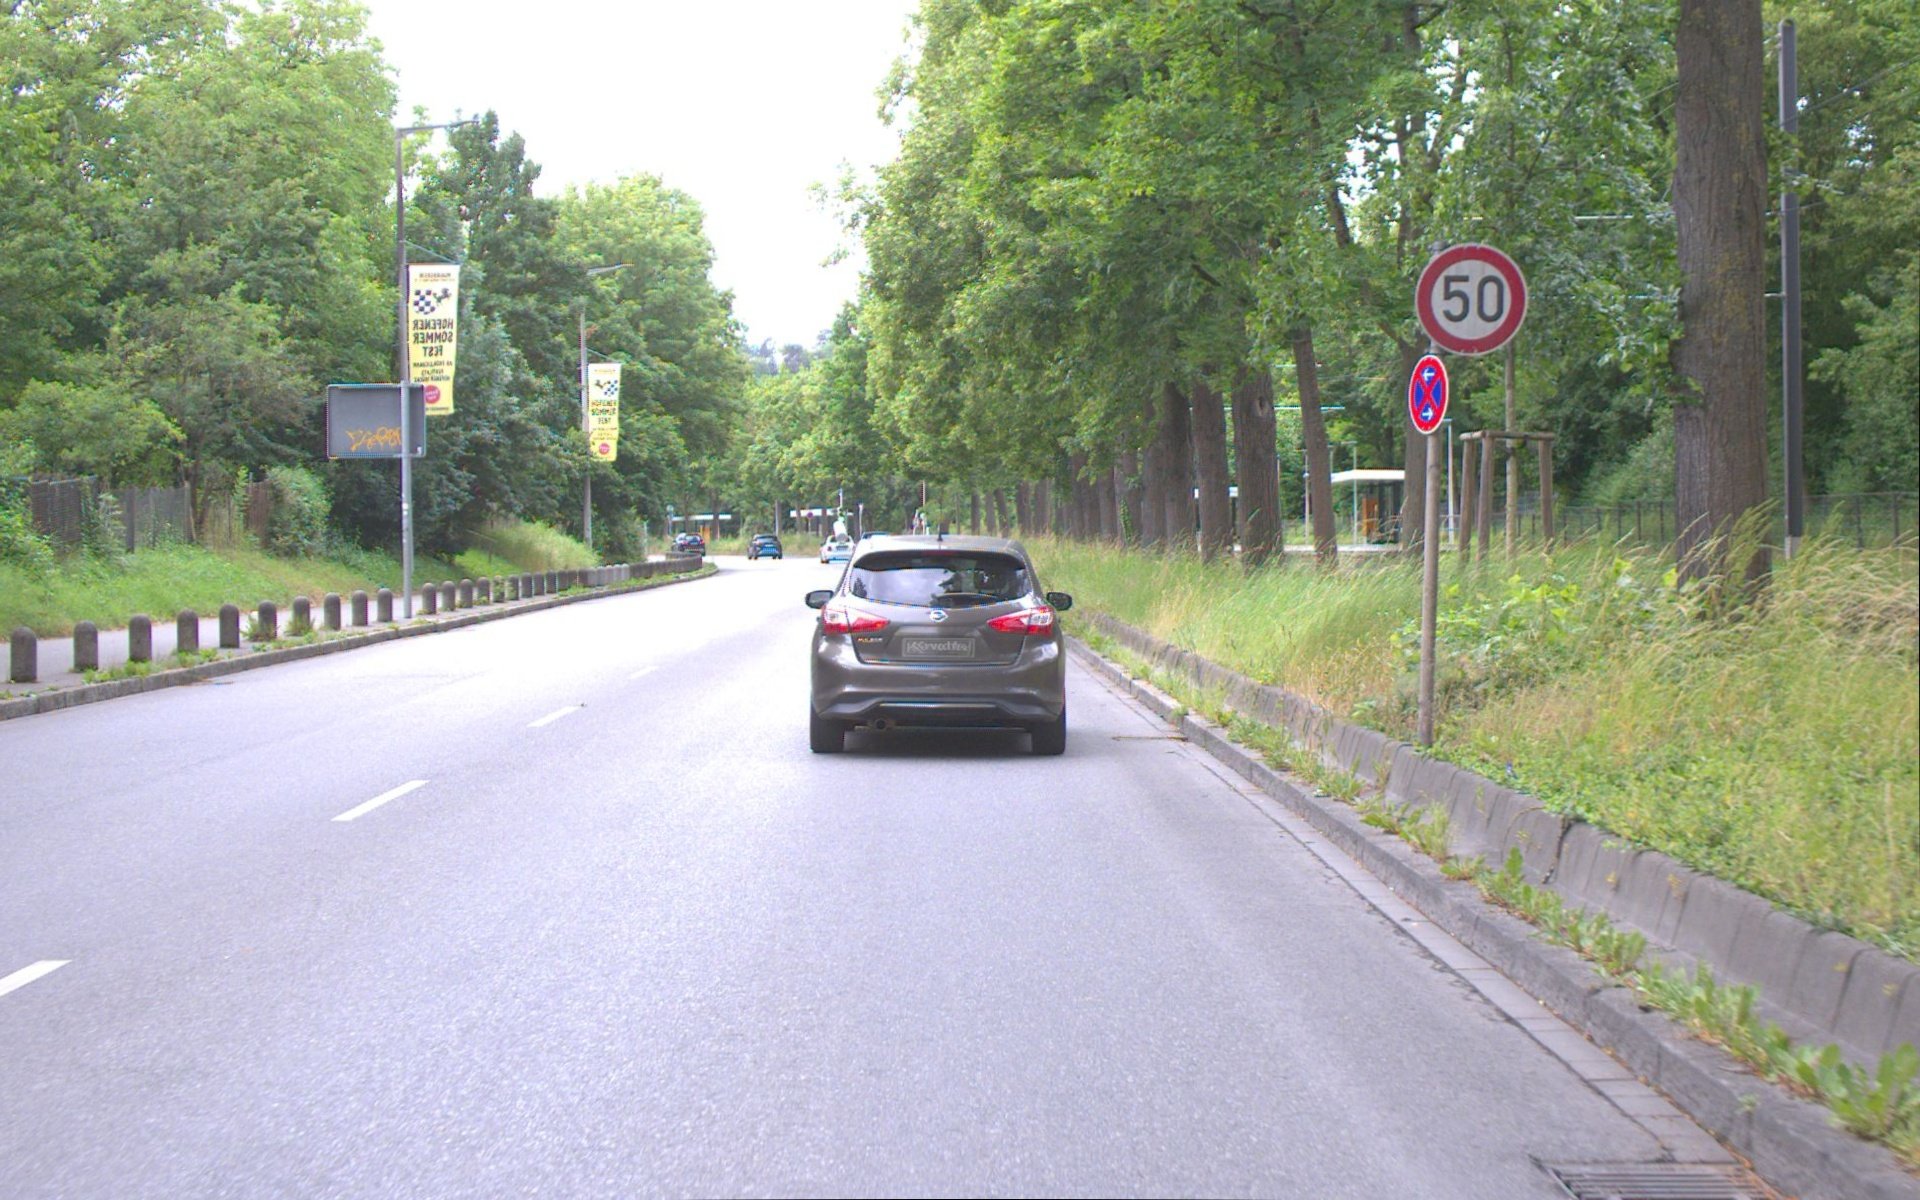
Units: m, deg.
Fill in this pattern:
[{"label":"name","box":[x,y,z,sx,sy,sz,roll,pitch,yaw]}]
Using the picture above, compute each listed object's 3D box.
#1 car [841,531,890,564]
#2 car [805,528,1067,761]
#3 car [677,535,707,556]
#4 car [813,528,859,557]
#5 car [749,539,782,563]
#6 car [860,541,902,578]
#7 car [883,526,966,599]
[{"label":"car","box":[-4.205,-2.355,153.128,1.561,1.436,3.553,1,1,-12]},{"label":"car","box":[-0.203,0.265,24.808,1.730,1.532,3.552,1,1,-1]},{"label":"car","box":[-19.013,-3.846,243.857,1.561,1.436,3.553,1,1,-13]},{"label":"car","box":[-6.328,-2.932,175.725,1.561,1.436,3.553,1,1,-15]},{"label":"car","box":[-11.970,-2.990,211.015,1.561,1.436,3.553,1,1,-11]},{"label":"car","box":[-3.131,-1.625,136.439,1.561,1.436,3.552,1,1,-3]},{"label":"car","box":[-0.797,-0.839,74.995,1.730,1.532,3.552,1,1,-1]}]
